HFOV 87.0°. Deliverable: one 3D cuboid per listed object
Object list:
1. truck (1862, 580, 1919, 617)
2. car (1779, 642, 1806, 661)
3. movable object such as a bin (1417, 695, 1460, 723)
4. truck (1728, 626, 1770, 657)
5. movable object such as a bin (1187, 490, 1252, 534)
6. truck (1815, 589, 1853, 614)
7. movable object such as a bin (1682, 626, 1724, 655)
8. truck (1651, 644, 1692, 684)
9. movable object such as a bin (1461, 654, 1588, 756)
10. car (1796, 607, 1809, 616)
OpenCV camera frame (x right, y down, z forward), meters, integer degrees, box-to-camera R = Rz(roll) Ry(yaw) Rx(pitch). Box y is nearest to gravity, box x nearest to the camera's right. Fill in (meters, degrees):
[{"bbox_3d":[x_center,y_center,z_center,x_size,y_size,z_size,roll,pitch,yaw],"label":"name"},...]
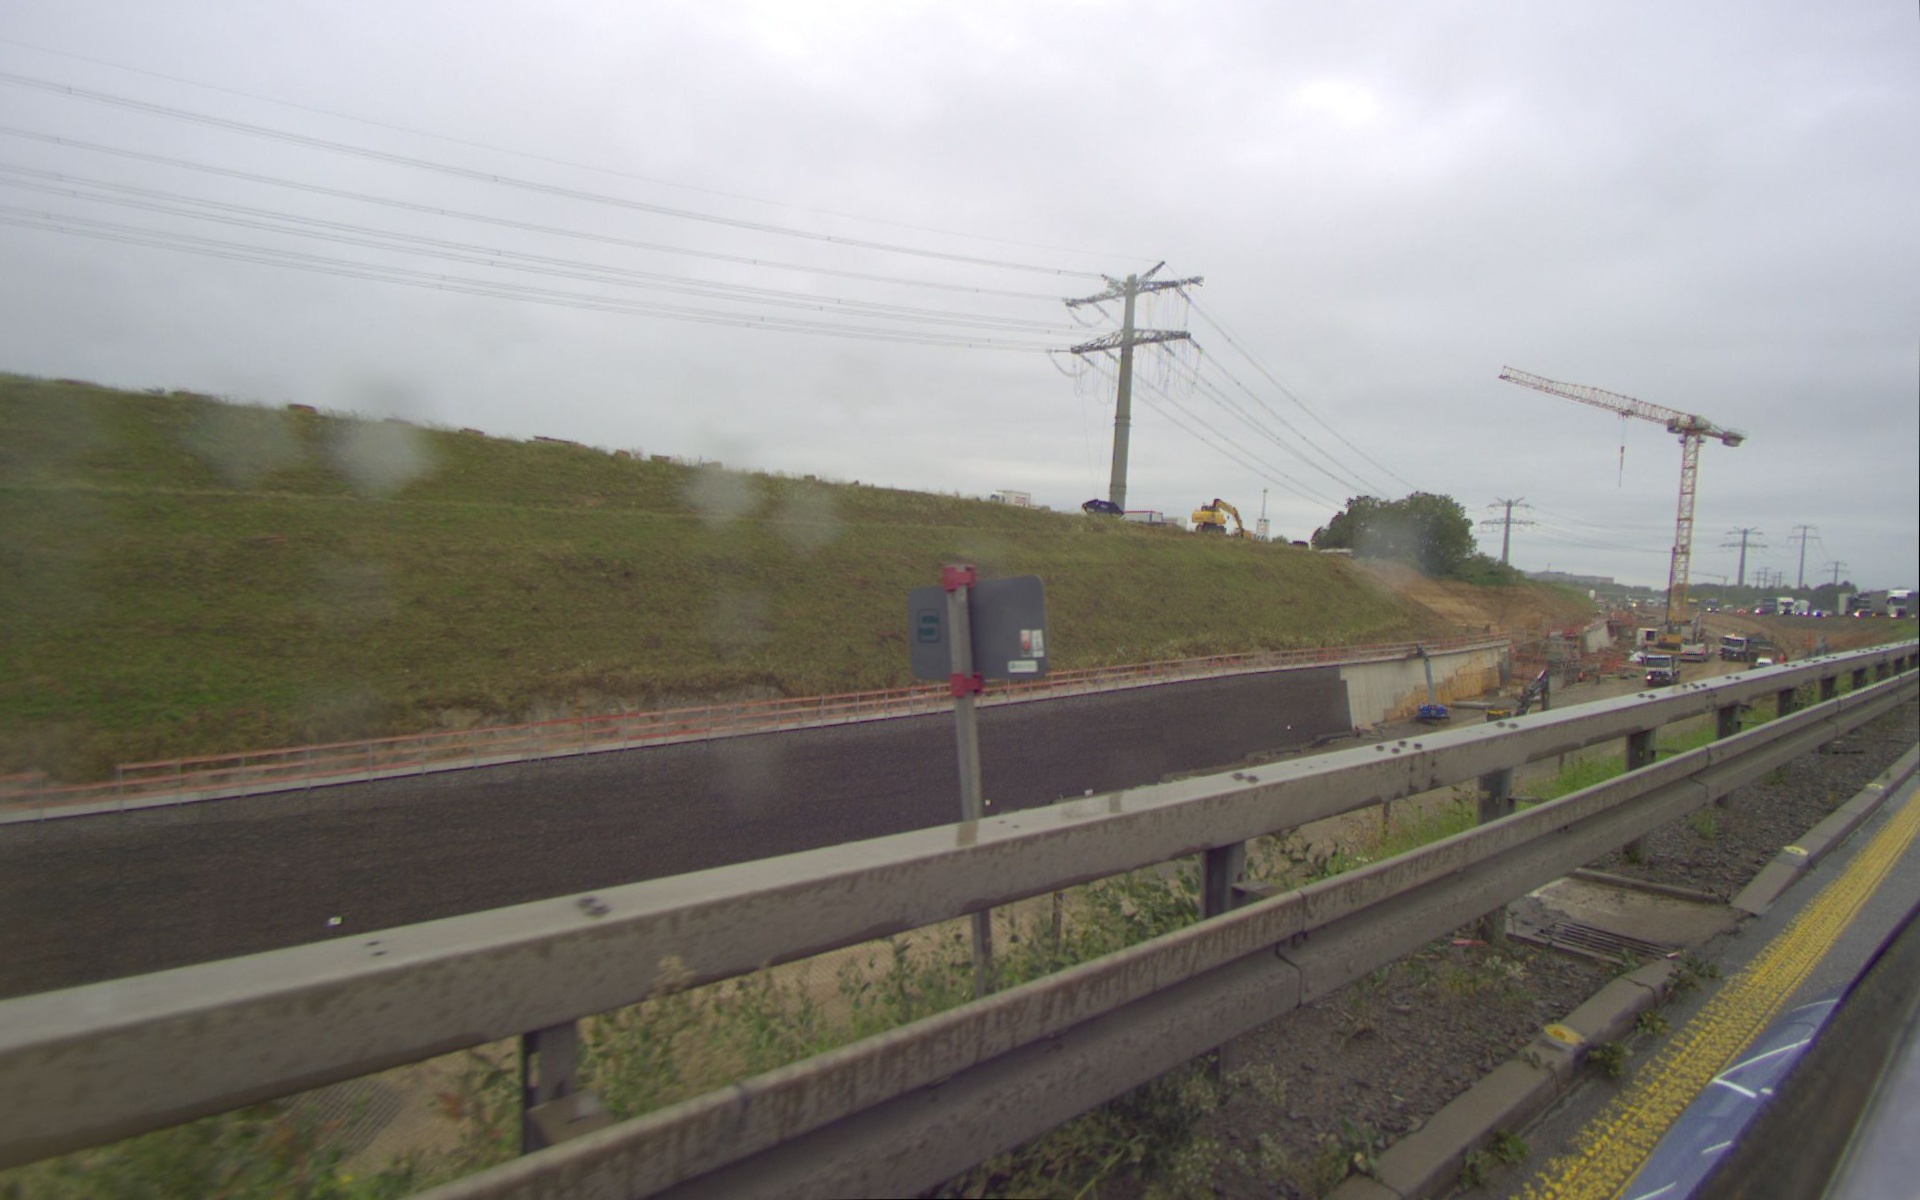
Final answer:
[{"bbox_3d":[117.130,-0.165,127.459,4.298,4.400,13.224,0,0,38],"label":"truck"},{"bbox_3d":[110.766,6.869,134.640,3.934,2.041,1.993,0,-13,-44],"label":"car"},{"bbox_3d":[39.960,9.094,84.483,2.512,1.935,3.211,-2,-1,40],"label":"movable object such as a bin"},{"bbox_3d":[109.734,5.752,140.697,8.764,3.583,3.355,-3,3,-44],"label":"truck"},{"bbox_3d":[28.405,-9.532,110.562,8.042,4.259,3.102,1,1,-44],"label":"movable object such as a bin"},{"bbox_3d":[143.765,0.264,166.478,3.522,3.943,8.237,0,0,33],"label":"truck"},{"bbox_3d":[102.346,5.548,139.312,6.541,3.466,3.512,-2,2,-43],"label":"movable object such as a bin"},{"bbox_3d":[80.278,7.149,114.064,2.702,3.655,8.938,3,3,42],"label":"truck"},{"bbox_3d":[41.268,7.347,73.719,11.898,5.740,4.895,-4,1,-45],"label":"movable object such as a bin"},{"bbox_3d":[156.128,2.125,187.559,1.781,1.445,3.945,0,0,38],"label":"car"}]
